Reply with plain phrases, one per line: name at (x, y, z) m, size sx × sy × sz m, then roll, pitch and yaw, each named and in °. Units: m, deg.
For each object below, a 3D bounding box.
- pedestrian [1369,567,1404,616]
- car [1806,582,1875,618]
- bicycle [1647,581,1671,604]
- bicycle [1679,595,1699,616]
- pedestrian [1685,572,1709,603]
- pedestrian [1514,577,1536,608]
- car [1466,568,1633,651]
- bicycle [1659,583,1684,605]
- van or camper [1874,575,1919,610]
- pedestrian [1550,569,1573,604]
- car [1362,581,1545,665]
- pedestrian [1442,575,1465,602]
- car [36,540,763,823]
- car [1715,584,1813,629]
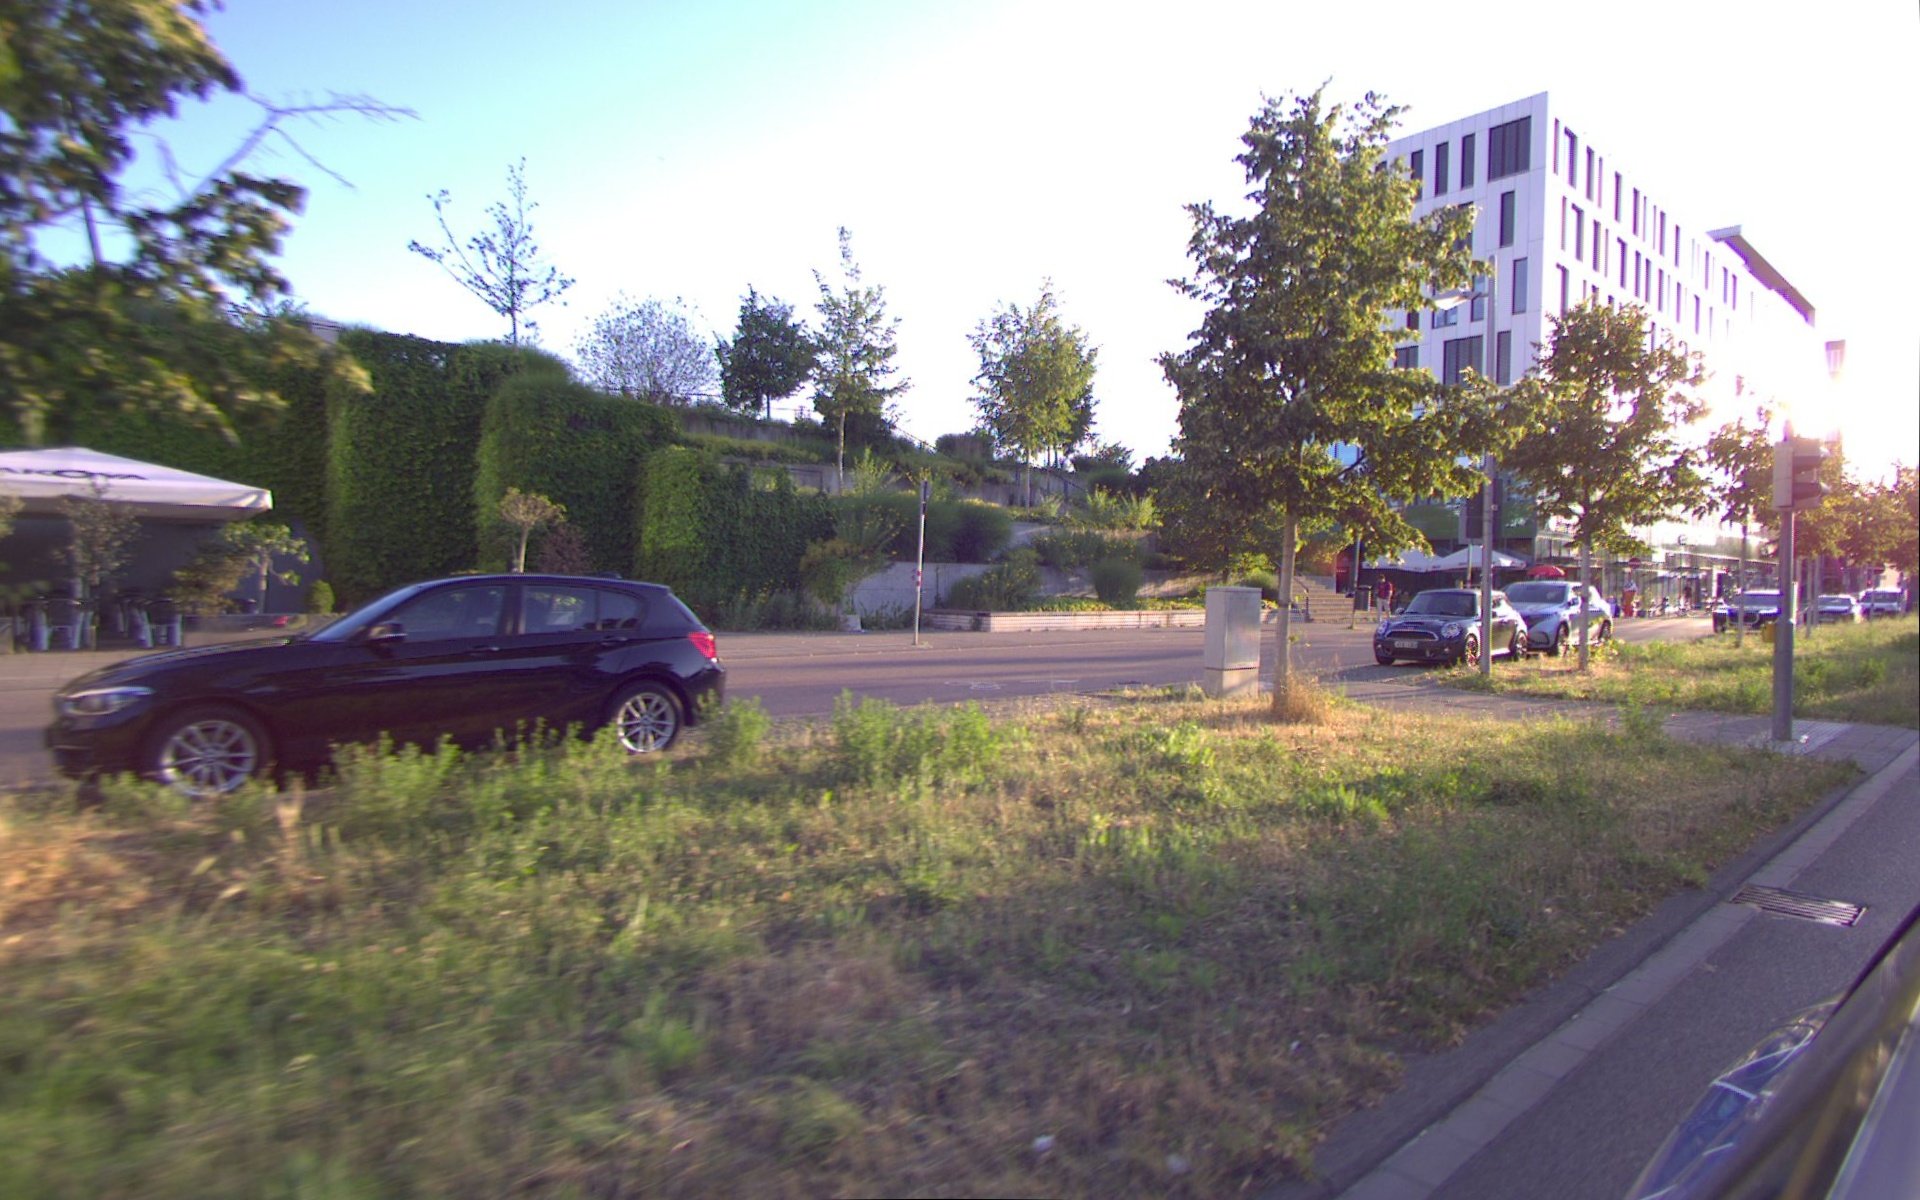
pedestrian at (14.847, -0.304, 35.234) m, size 1.060 × 1.675 × 0.696 m, roll 0°, pitch 1°, yaw -42°
car at (40.436, -0.028, 46.450) m, size 4.402 × 1.519 × 1.811 m, roll -1°, pitch 2°, yaw -42°
bicycle at (35.977, -0.387, 52.048) m, size 0.640 × 1.147 × 1.843 m, roll 5°, pitch 4°, yaw 45°
bicycle at (39.575, 0.297, 54.919) m, size 0.596 × 1.053 × 2.041 m, roll 5°, pitch 4°, yaw 42°
pedestrian at (46.519, -0.785, 63.885) m, size 0.931 × 1.906 × 1.028 m, roll 0°, pitch 2°, yaw -42°
pedestrian at (26.083, -0.345, 46.734) m, size 0.741 × 1.384 × 0.760 m, roll 2°, pitch 2°, yaw 38°
car at (13.014, 0.181, 22.233) m, size 4.595 × 1.653 × 1.811 m, roll -1°, pitch -1°, yaw -42°
bicycle at (37.700, -0.330, 53.630) m, size 2.039 × 1.076 × 0.684 m, roll 0°, pitch 4°, yaw -44°
van or camper at (53.659, -0.422, 57.529) m, size 4.745 × 1.944 × 1.962 m, roll -1°, pitch 0°, yaw -41°
pedestrian at (31.576, -0.695, 53.131) m, size 0.670 × 1.781 × 0.664 m, roll 1°, pitch 3°, yaw -23°
car at (9.372, 0.350, 19.095) m, size 3.931 × 1.415 × 1.752 m, roll -1°, pitch 1°, yaw -42°
pedestrian at (23.854, -0.539, 48.881) m, size 0.757 × 1.281 × 0.744 m, roll 0°, pitch 2°, yaw -40°
car at (-3.807, 0.420, 7.468) m, size 4.288 × 1.520 × 1.813 m, roll -1°, pitch 0°, yaw -38°
car at (29.482, 0.187, 37.046) m, size 5.318 × 1.519 × 1.923 m, roll -1°, pitch 2°, yaw -42°
